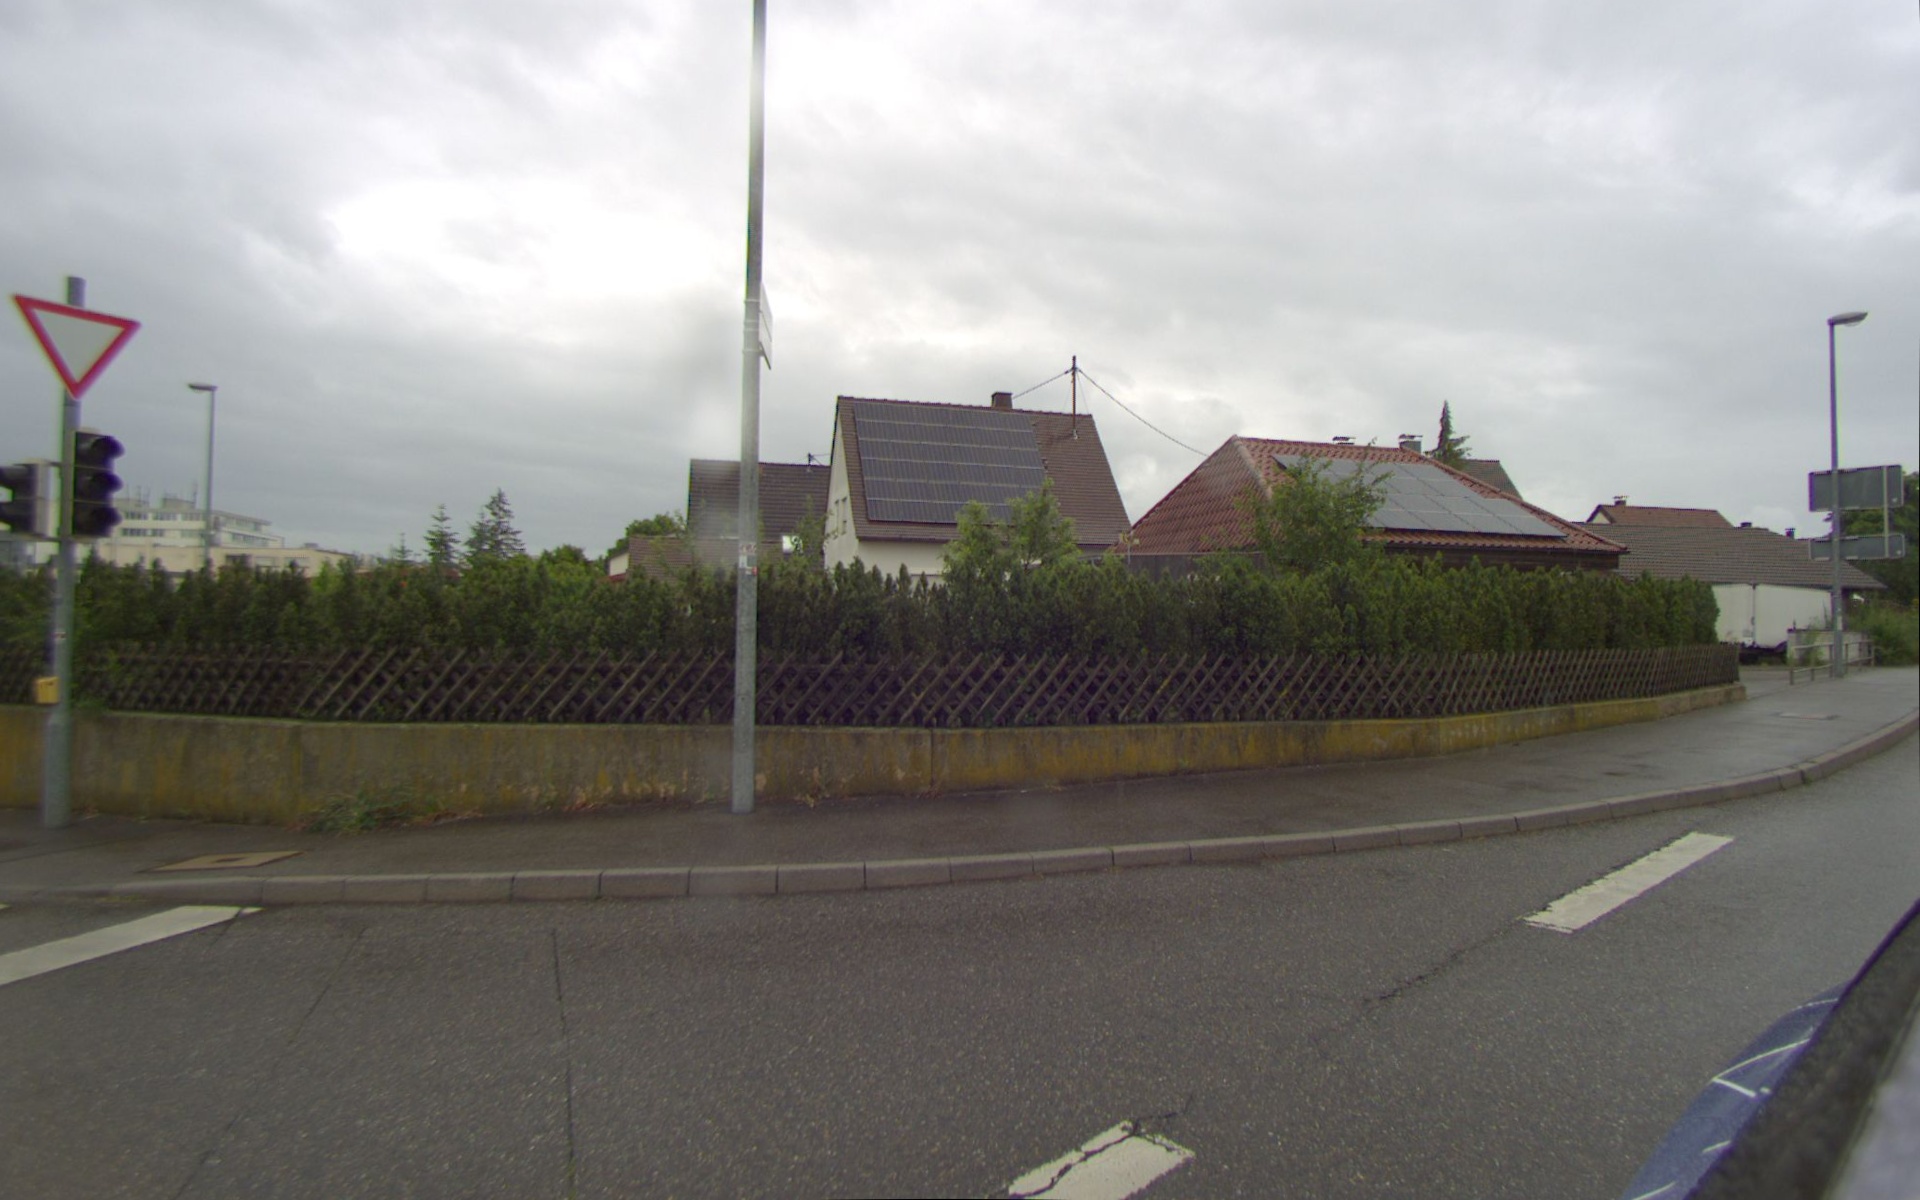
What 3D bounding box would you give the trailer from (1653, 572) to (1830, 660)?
[{"bbox_3d":[23.713,0.492,30.753,4.605,2.550,1.652,0,-2,-13],"label":"trailer"}]
